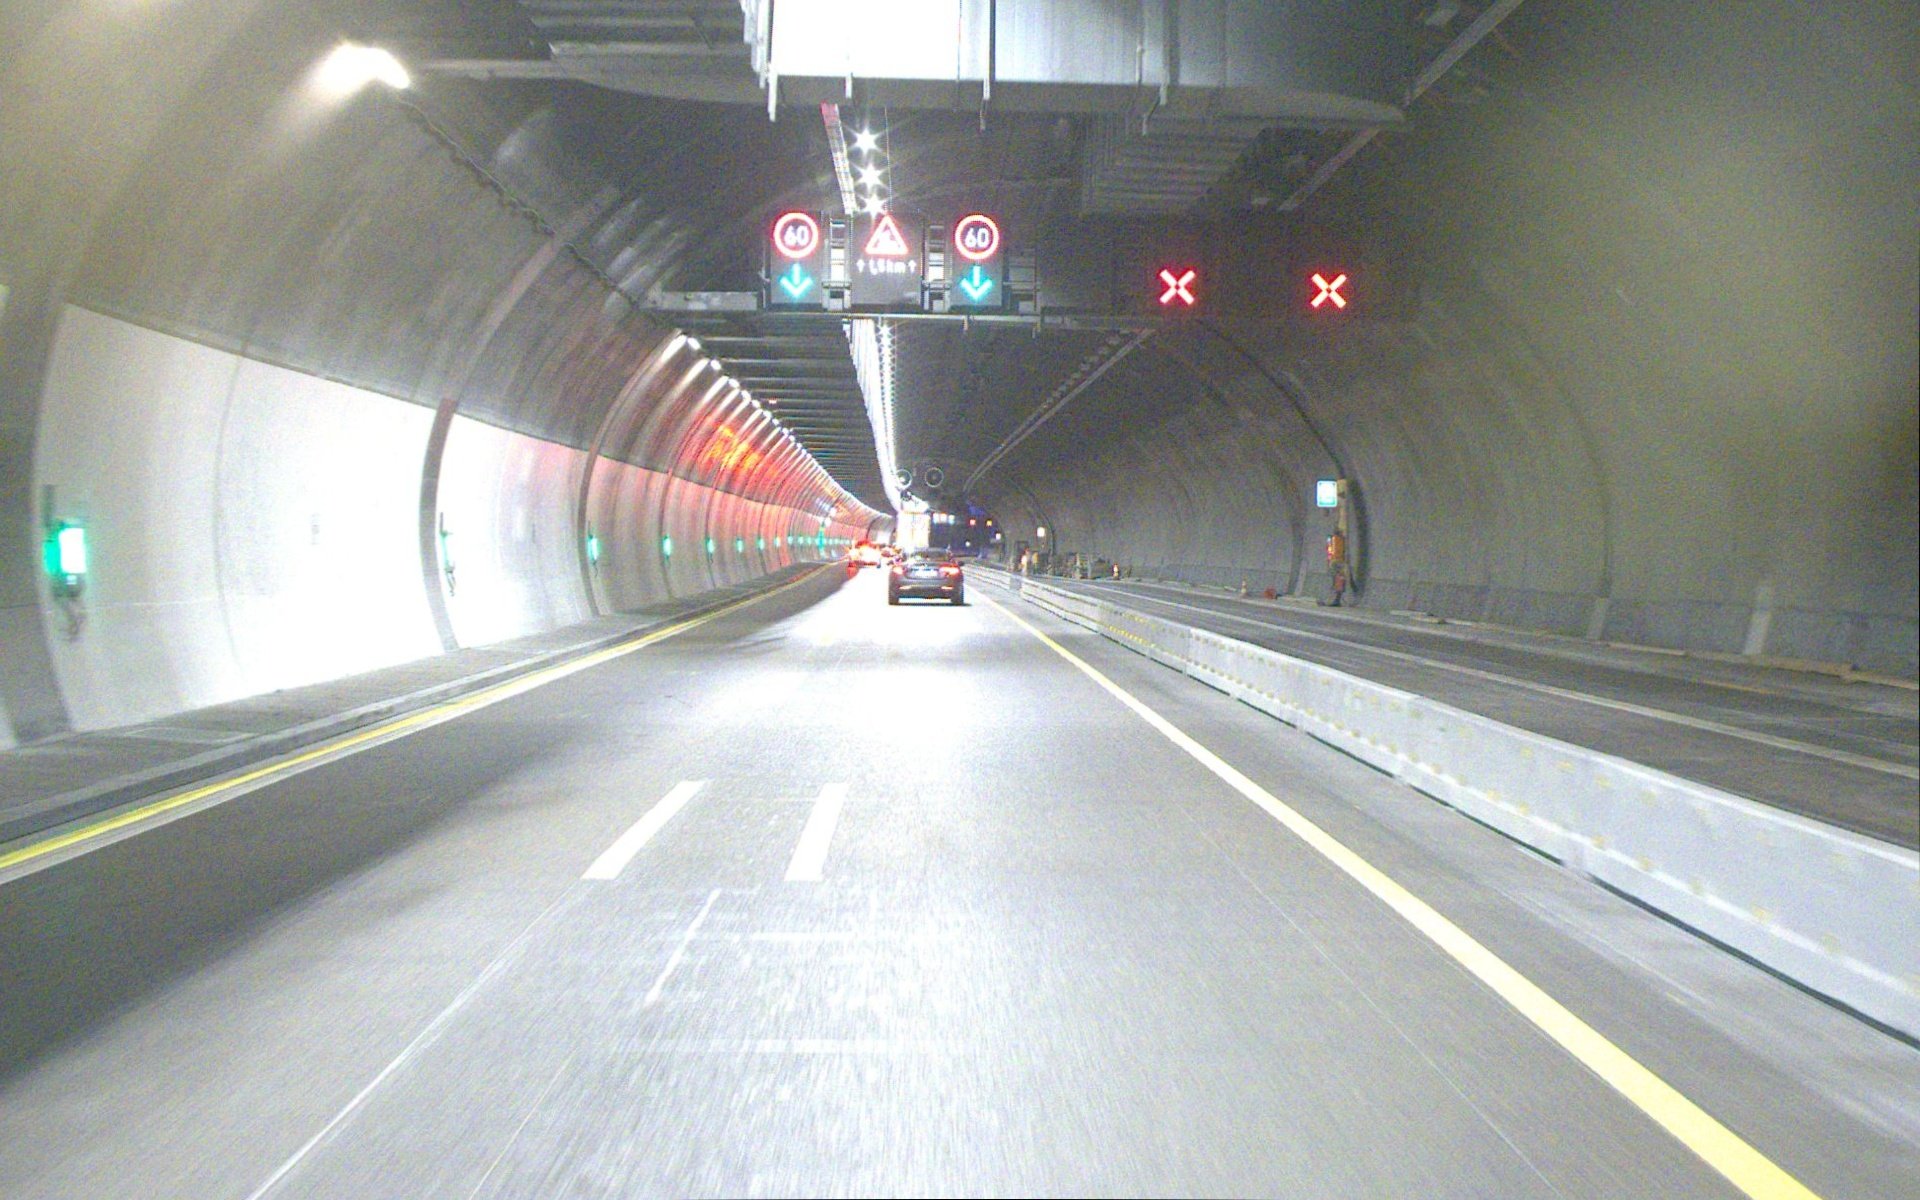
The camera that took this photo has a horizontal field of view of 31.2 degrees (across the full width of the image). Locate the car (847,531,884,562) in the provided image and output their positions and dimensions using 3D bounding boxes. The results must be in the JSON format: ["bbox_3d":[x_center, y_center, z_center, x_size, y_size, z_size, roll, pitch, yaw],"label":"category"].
[{"bbox_3d":[-5.310,-3.021,193.377,1.930,1.681,4.000,1,1,0],"label":"car"}]

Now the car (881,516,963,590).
[{"bbox_3d":[-0.984,-1.180,86.066,1.946,1.788,4.001,1,1,-2],"label":"car"}]
